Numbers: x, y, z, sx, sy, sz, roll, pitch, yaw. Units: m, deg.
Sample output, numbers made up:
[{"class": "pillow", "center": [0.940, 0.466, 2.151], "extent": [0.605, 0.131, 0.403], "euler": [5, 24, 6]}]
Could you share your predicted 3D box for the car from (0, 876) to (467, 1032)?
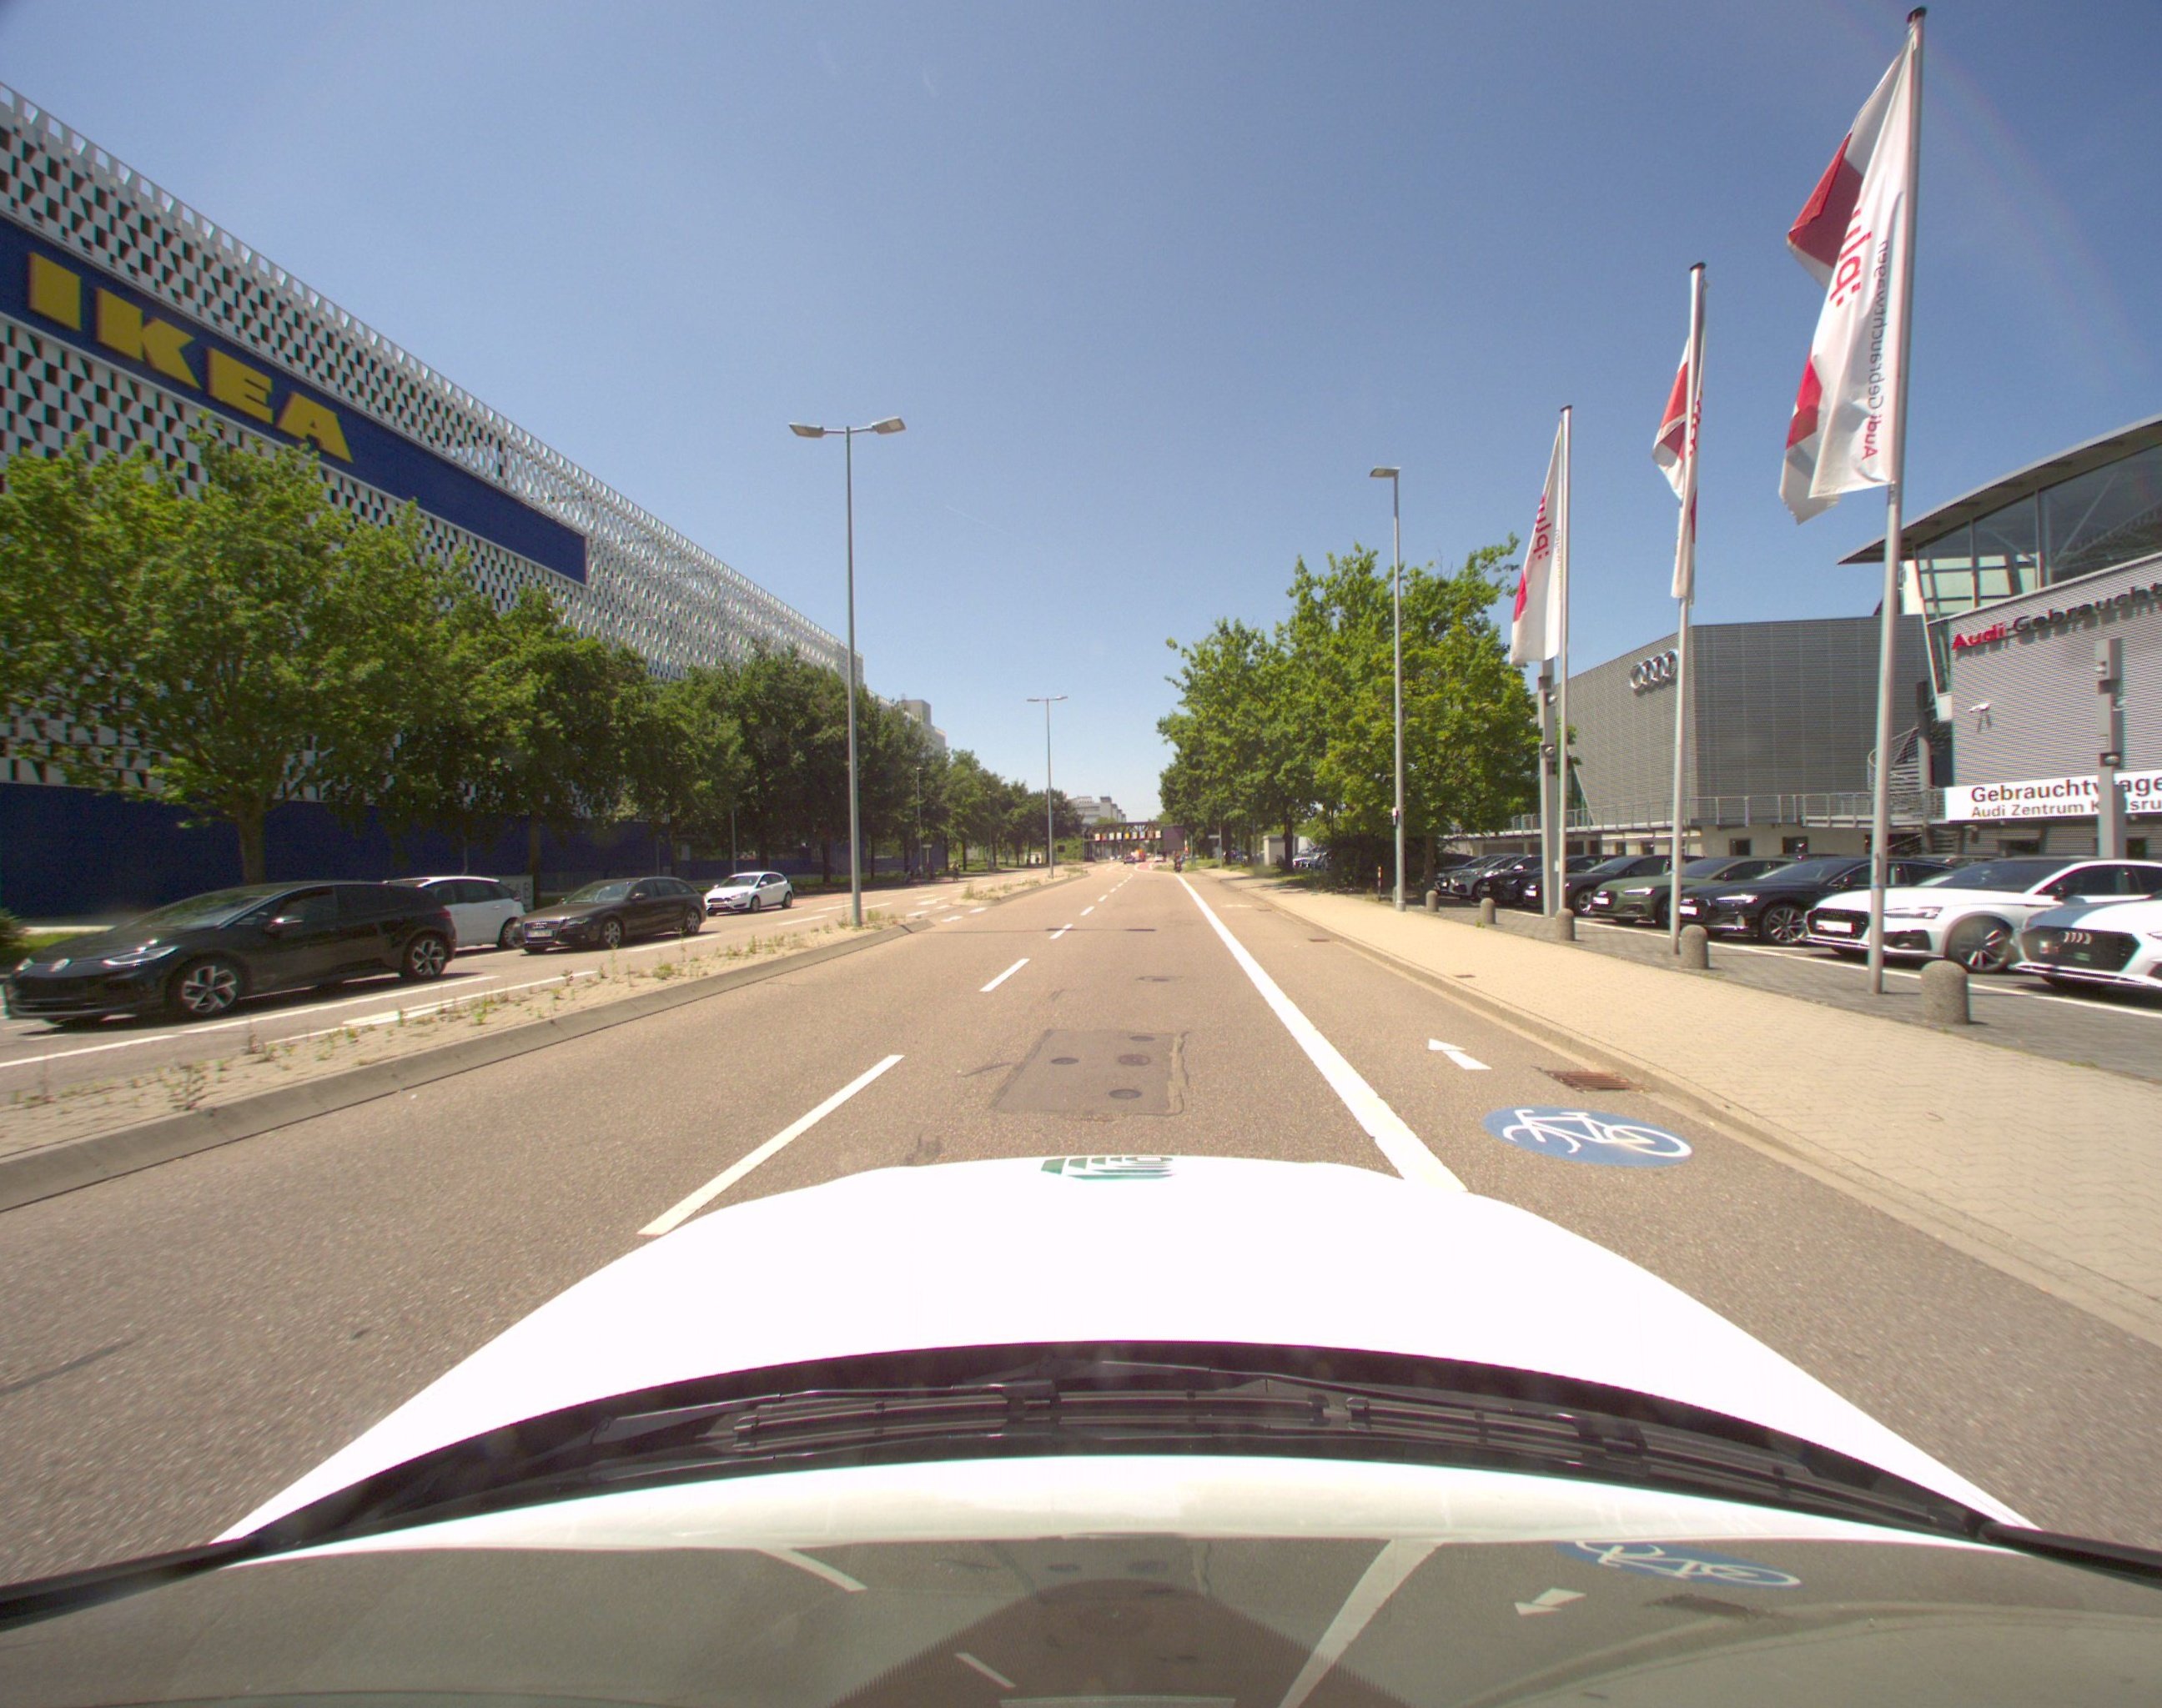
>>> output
[{"class": "car", "center": [-10.695, 1.120, 10.683], "extent": [1.718, 1.505, 4.250], "euler": [-3, -1, 6]}]

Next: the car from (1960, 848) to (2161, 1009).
[{"class": "car", "center": [11.318, 0.673, 7.578], "extent": [4.076, 1.364, 1.877], "euler": [1, 0, 5]}]

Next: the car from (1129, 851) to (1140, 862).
[{"class": "car", "center": [10.268, 0.529, 156.306], "extent": [1.984, 2.013, 4.005], "euler": [-1, 0, 4]}]

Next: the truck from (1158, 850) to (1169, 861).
[{"class": "truck", "center": [18.478, 0.296, 182.509], "extent": [2.447, 2.410, 7.144], "euler": [0, 0, 5]}]

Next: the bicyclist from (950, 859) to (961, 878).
[{"class": "bicyclist", "center": [-10.810, 1.258, 70.240], "extent": [0.631, 1.629, 1.046], "euler": [-3, -1, 4]}]

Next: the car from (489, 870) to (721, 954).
[{"class": "car", "center": [-10.003, 1.145, 17.657], "extent": [1.717, 1.446, 4.730], "euler": [-3, -1, 8]}]

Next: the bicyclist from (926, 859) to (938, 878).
[{"class": "bicyclist", "center": [-12.355, 1.213, 67.477], "extent": [0.633, 1.582, 0.887], "euler": [-1, 0, 9]}]

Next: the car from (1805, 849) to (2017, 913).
[{"class": "car", "center": [23.339, 0.739, 23.037], "extent": [3.966, 1.654, 1.853], "euler": [1, 0, 5]}]

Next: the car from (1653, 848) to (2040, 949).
[{"class": "car", "center": [11.793, 0.640, 12.827], "extent": [4.206, 1.390, 1.871], "euler": [1, 0, 5]}]

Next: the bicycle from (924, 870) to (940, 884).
[{"class": "bicycle", "center": [-12.341, 1.902, 67.480], "extent": [0.634, 1.134, 1.975], "euler": [-1, 0, 8]}]

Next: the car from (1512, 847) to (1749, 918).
[{"class": "car", "center": [12.341, 0.615, 18.525], "extent": [4.081, 1.453, 1.871], "euler": [1, 0, 5]}]

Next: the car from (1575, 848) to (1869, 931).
[{"class": "car", "center": [12.096, 0.637, 15.615], "extent": [4.081, 1.405, 1.871], "euler": [1, 0, 5]}]

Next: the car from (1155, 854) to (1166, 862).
[{"class": "car", "center": [15.192, 0.746, 155.683], "extent": [1.915, 1.420, 4.005], "euler": [-1, 0, 4]}]

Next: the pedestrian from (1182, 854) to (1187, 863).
[{"class": "pedestrian", "center": [14.755, 0.641, 116.150], "extent": [0.621, 1.374, 0.565], "euler": [-1, 0, 3]}]

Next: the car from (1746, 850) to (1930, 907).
[{"class": "car", "center": [23.759, 0.733, 25.703], "extent": [3.966, 1.654, 1.853], "euler": [1, 0, 5]}]

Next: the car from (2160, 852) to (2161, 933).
[{"class": "car", "center": [22.786, 0.784, 14.785], "extent": [3.963, 1.573, 1.636], "euler": [1, 0, 5]}]

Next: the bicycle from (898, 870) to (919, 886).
[{"class": "bicycle", "center": [-13.124, 1.853, 62.022], "extent": [0.735, 1.125, 2.440], "euler": [-1, 0, 8]}]

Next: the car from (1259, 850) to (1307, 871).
[{"class": "car", "center": [18.789, 0.595, 75.858], "extent": [3.973, 1.618, 1.798], "euler": [4, 0, 1]}]

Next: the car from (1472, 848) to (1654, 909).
[{"class": "car", "center": [12.438, 0.601, 21.219], "extent": [3.664, 1.453, 1.836], "euler": [1, 0, 5]}]

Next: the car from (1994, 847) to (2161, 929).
[{"class": "car", "center": [22.921, 0.723, 17.668], "extent": [3.966, 1.654, 1.853], "euler": [1, 0, 5]}]

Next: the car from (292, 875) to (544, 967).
[{"class": "car", "center": [-13.330, 1.266, 16.729], "extent": [1.718, 1.544, 3.921], "euler": [-2, -1, 5]}]

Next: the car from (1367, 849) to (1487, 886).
[{"class": "car", "center": [14.987, 0.561, 35.457], "extent": [4.428, 1.392, 1.836], "euler": [2, 0, 5]}]

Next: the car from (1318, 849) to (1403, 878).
[{"class": "car", "center": [15.745, 0.522, 46.098], "extent": [4.201, 1.407, 1.920], "euler": [2, 0, 5]}]

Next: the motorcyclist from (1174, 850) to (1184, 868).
[{"class": "motorcyclist", "center": [8.490, 0.464, 70.366], "extent": [0.718, 1.529, 0.869], "euler": [0, -1, -5]}]

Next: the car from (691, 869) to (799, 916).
[{"class": "car", "center": [-12.135, 1.348, 29.767], "extent": [1.718, 1.446, 4.457], "euler": [-3, -1, 5]}]

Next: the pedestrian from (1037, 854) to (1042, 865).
[{"class": "pedestrian", "center": [-7.141, 0.926, 138.715], "extent": [0.740, 1.884, 0.578], "euler": [-1, 0, 5]}]

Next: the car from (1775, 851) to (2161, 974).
[{"class": "car", "center": [11.571, 0.674, 10.198], "extent": [4.080, 1.348, 1.871], "euler": [1, 0, 5]}]

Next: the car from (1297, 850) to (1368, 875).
[{"class": "car", "center": [16.522, 0.547, 53.633], "extent": [4.110, 1.380, 1.781], "euler": [4, 0, 5]}]

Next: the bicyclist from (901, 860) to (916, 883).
[{"class": "bicyclist", "center": [-13.131, 1.340, 62.042], "extent": [0.740, 1.685, 0.954], "euler": [-1, 0, 8]}]

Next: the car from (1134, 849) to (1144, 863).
[{"class": "car", "center": [13.028, 0.436, 181.700], "extent": [2.063, 2.854, 6.773], "euler": [-2, 0, 4]}]

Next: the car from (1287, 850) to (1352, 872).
[{"class": "car", "center": [17.185, 0.493, 58.902], "extent": [4.201, 1.342, 1.920], "euler": [2, 0, 5]}]

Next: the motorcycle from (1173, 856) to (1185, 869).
[{"class": "motorcycle", "center": [8.487, 0.688, 70.382], "extent": [0.715, 1.105, 1.827], "euler": [0, 0, -4]}]

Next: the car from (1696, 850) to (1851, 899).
[{"class": "car", "center": [24.023, 0.682, 28.353], "extent": [3.880, 1.584, 1.643], "euler": [1, 0, 5]}]

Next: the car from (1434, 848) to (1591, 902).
[{"class": "car", "center": [12.603, 0.590, 23.954], "extent": [3.664, 1.453, 1.836], "euler": [1, 0, 5]}]

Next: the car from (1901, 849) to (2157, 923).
[{"class": "car", "center": [23.192, 0.751, 20.068], "extent": [3.966, 1.654, 1.853], "euler": [1, 0, 5]}]

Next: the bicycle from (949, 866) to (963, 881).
[{"class": "bicycle", "center": [-10.775, 1.664, 70.350], "extent": [0.626, 1.159, 2.120], "euler": [-3, 0, 5]}]

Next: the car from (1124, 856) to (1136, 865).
[{"class": "car", "center": [8.099, 1.057, 134.922], "extent": [1.892, 1.376, 4.237], "euler": [-2, 0, 4]}]

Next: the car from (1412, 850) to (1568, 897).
[{"class": "car", "center": [13.371, 0.613, 26.809], "extent": [4.211, 1.401, 1.819], "euler": [1, 0, 5]}]
